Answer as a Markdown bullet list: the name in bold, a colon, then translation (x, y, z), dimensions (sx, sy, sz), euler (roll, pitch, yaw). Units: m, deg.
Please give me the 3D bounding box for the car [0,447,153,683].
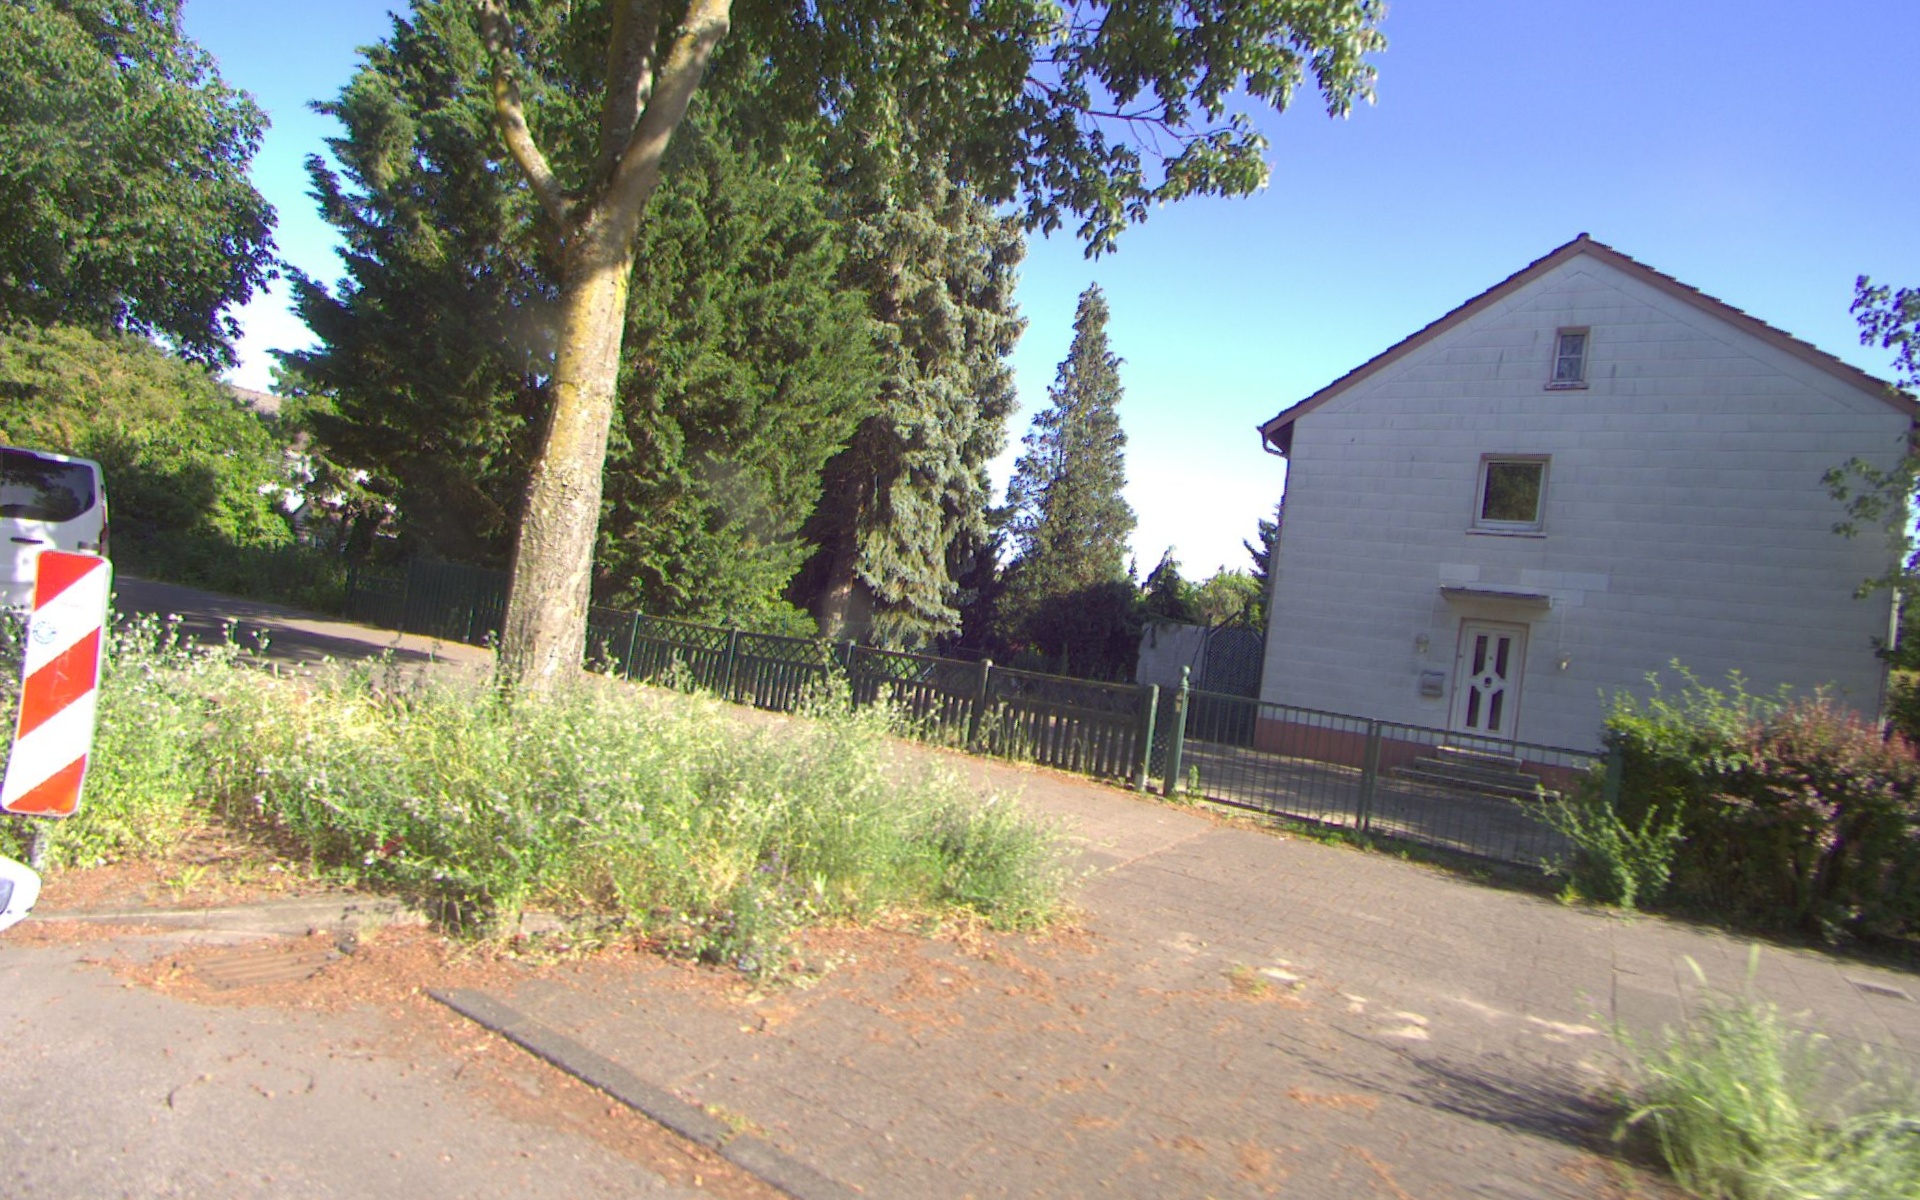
- **car**: translation (-10.840, -0.572, 10.410), dimensions (5.109, 2.034, 2.001), euler (6, -5, 31)
